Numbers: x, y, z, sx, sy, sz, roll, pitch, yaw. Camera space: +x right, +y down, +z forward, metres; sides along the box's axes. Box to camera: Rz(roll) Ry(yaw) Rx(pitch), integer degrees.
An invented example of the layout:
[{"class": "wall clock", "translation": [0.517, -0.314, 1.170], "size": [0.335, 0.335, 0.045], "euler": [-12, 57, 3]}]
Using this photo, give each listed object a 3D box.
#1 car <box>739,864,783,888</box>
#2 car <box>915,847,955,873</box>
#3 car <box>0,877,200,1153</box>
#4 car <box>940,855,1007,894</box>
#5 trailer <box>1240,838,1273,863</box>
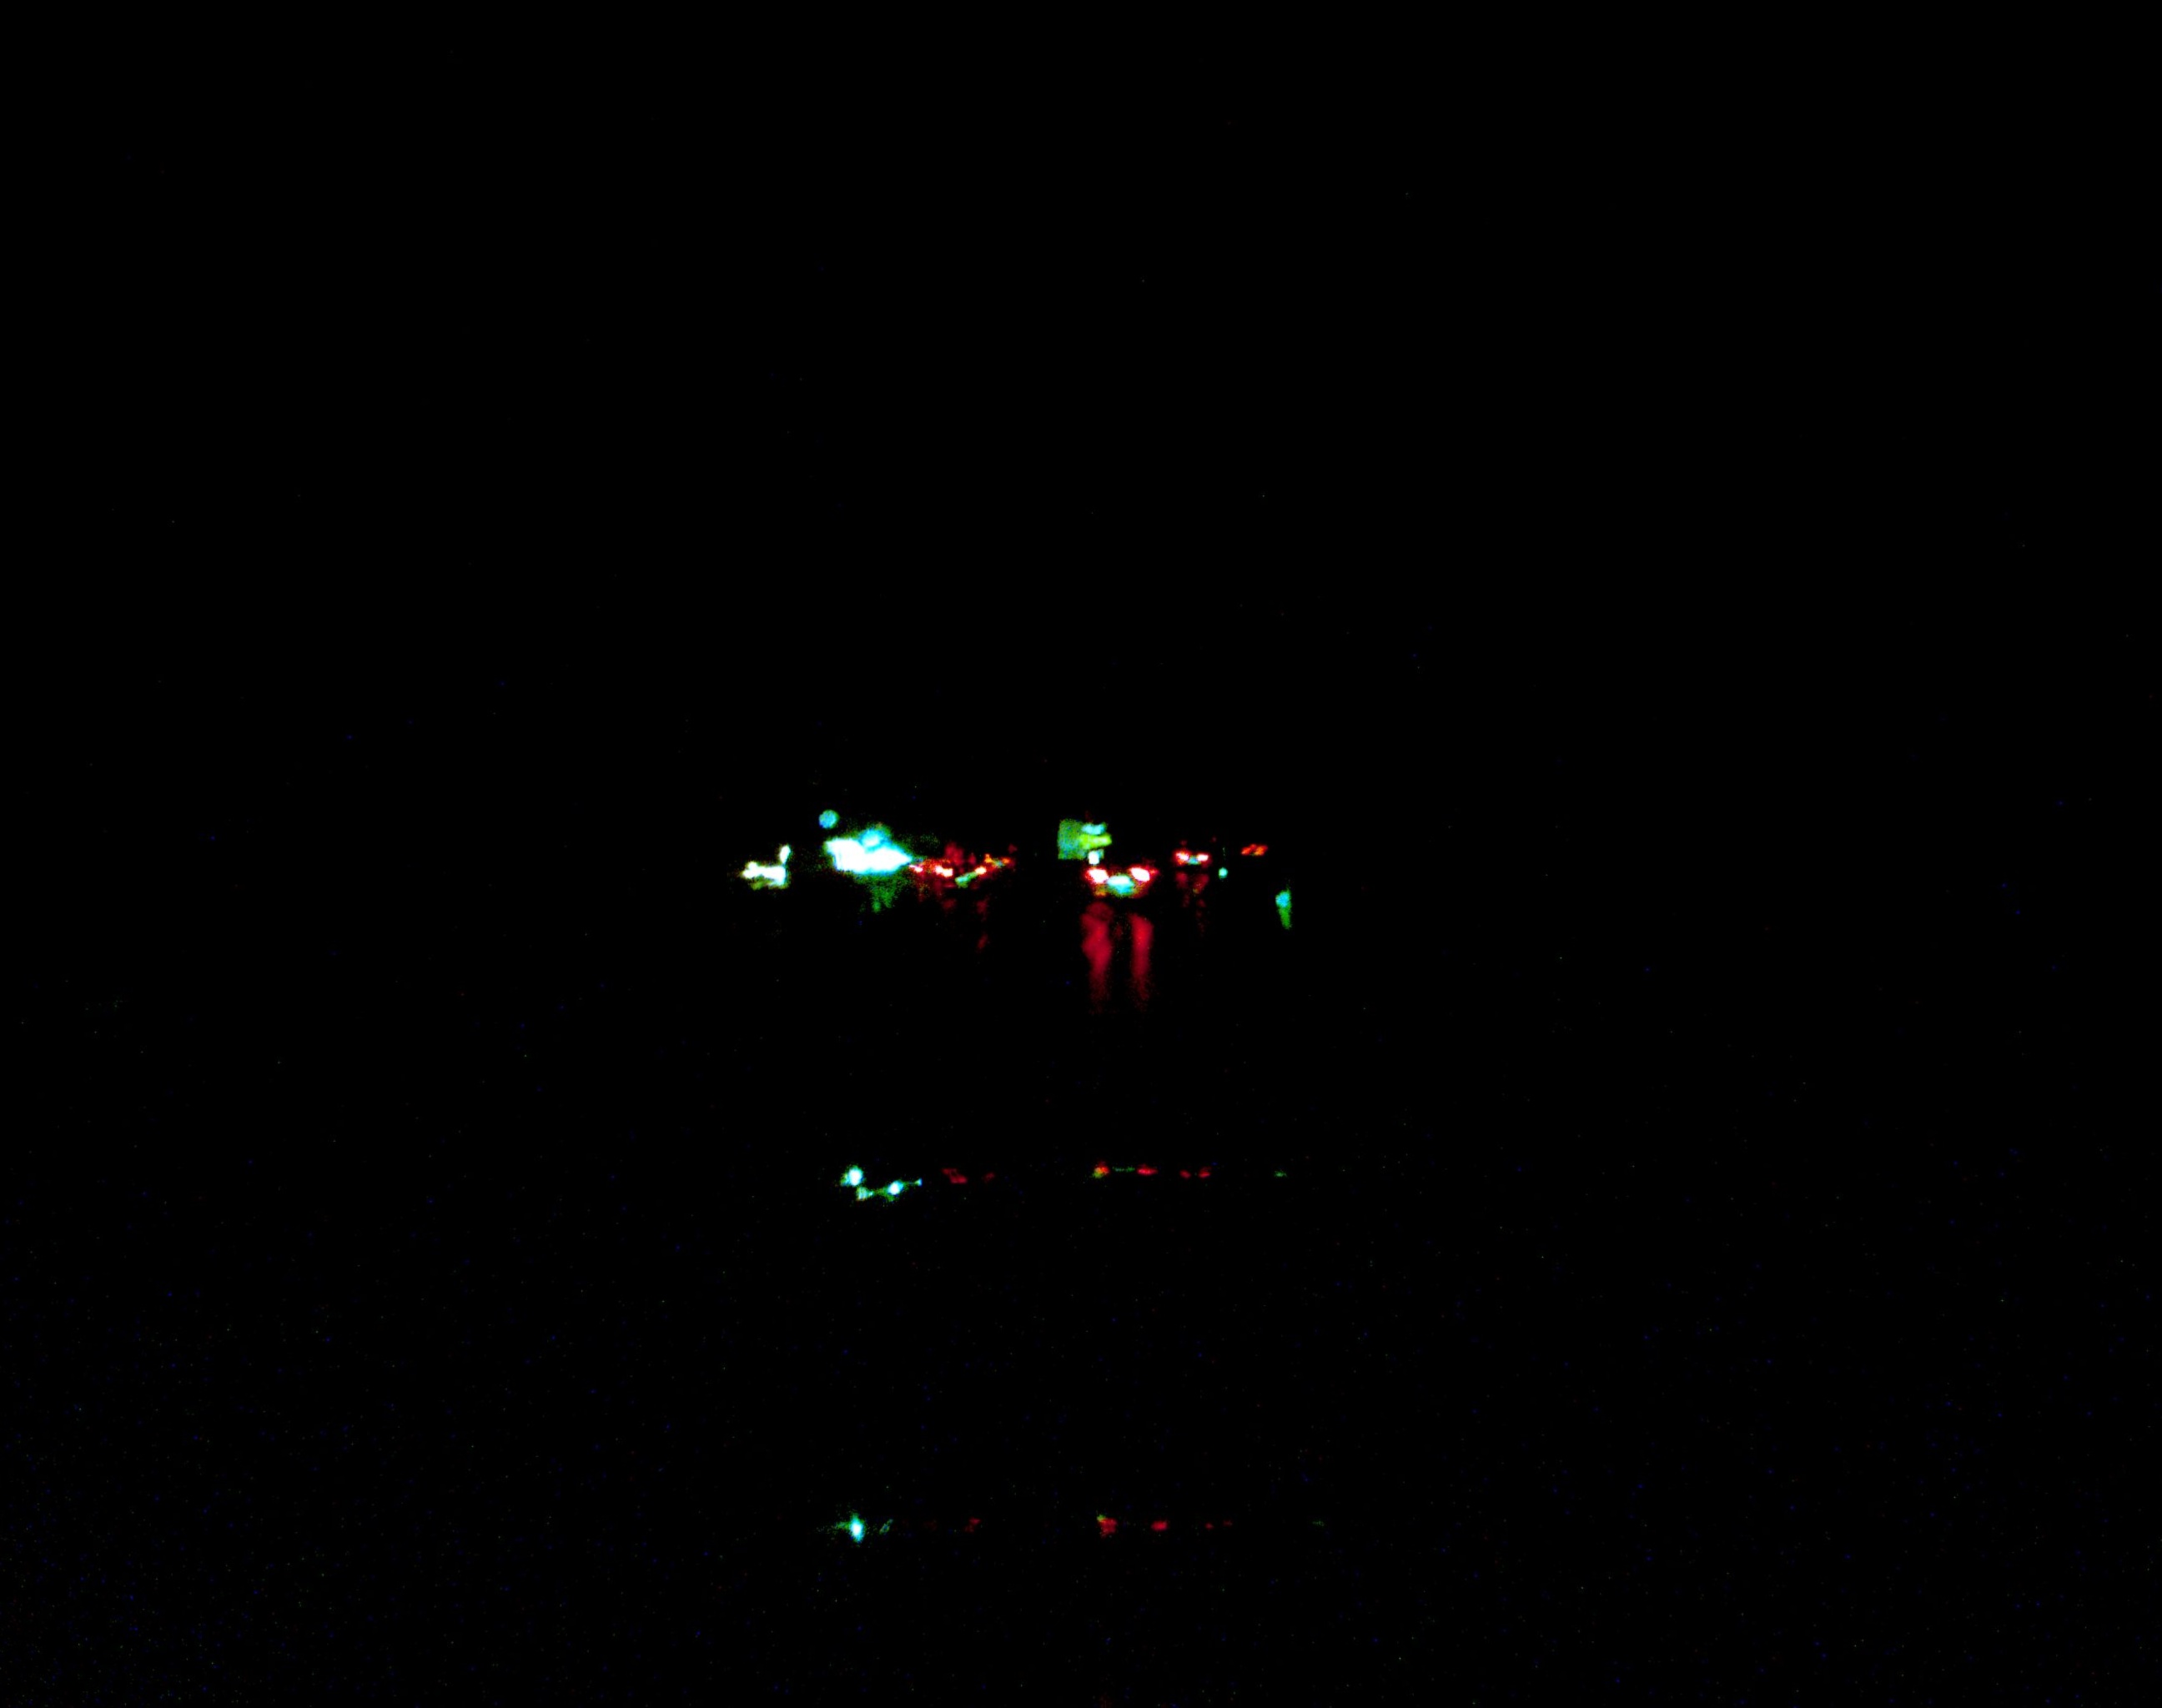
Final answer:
[{"class": "car", "translation": [-21.573, 1.464, 55.019], "size": [1.782, 1.474, 3.883], "euler": [-2, -1, -7]}, {"class": "car", "translation": [-9.295, 0.383, 52.155], "size": [1.763, 1.517, 4.912], "euler": [-2, 0, -1]}, {"class": "car", "translation": [-7.175, 1.012, 3.876], "size": [1.644, 1.575, 3.850], "euler": [-3, 0, 1]}, {"class": "car", "translation": [-4.153, 0.781, 32.107], "size": [1.955, 1.380, 4.050], "euler": [-1, -1, 1]}, {"class": "trailer", "translation": [16.183, -0.311, 74.561], "size": [2.062, 2.014, 10.694], "euler": [-2, -1, 17]}]
